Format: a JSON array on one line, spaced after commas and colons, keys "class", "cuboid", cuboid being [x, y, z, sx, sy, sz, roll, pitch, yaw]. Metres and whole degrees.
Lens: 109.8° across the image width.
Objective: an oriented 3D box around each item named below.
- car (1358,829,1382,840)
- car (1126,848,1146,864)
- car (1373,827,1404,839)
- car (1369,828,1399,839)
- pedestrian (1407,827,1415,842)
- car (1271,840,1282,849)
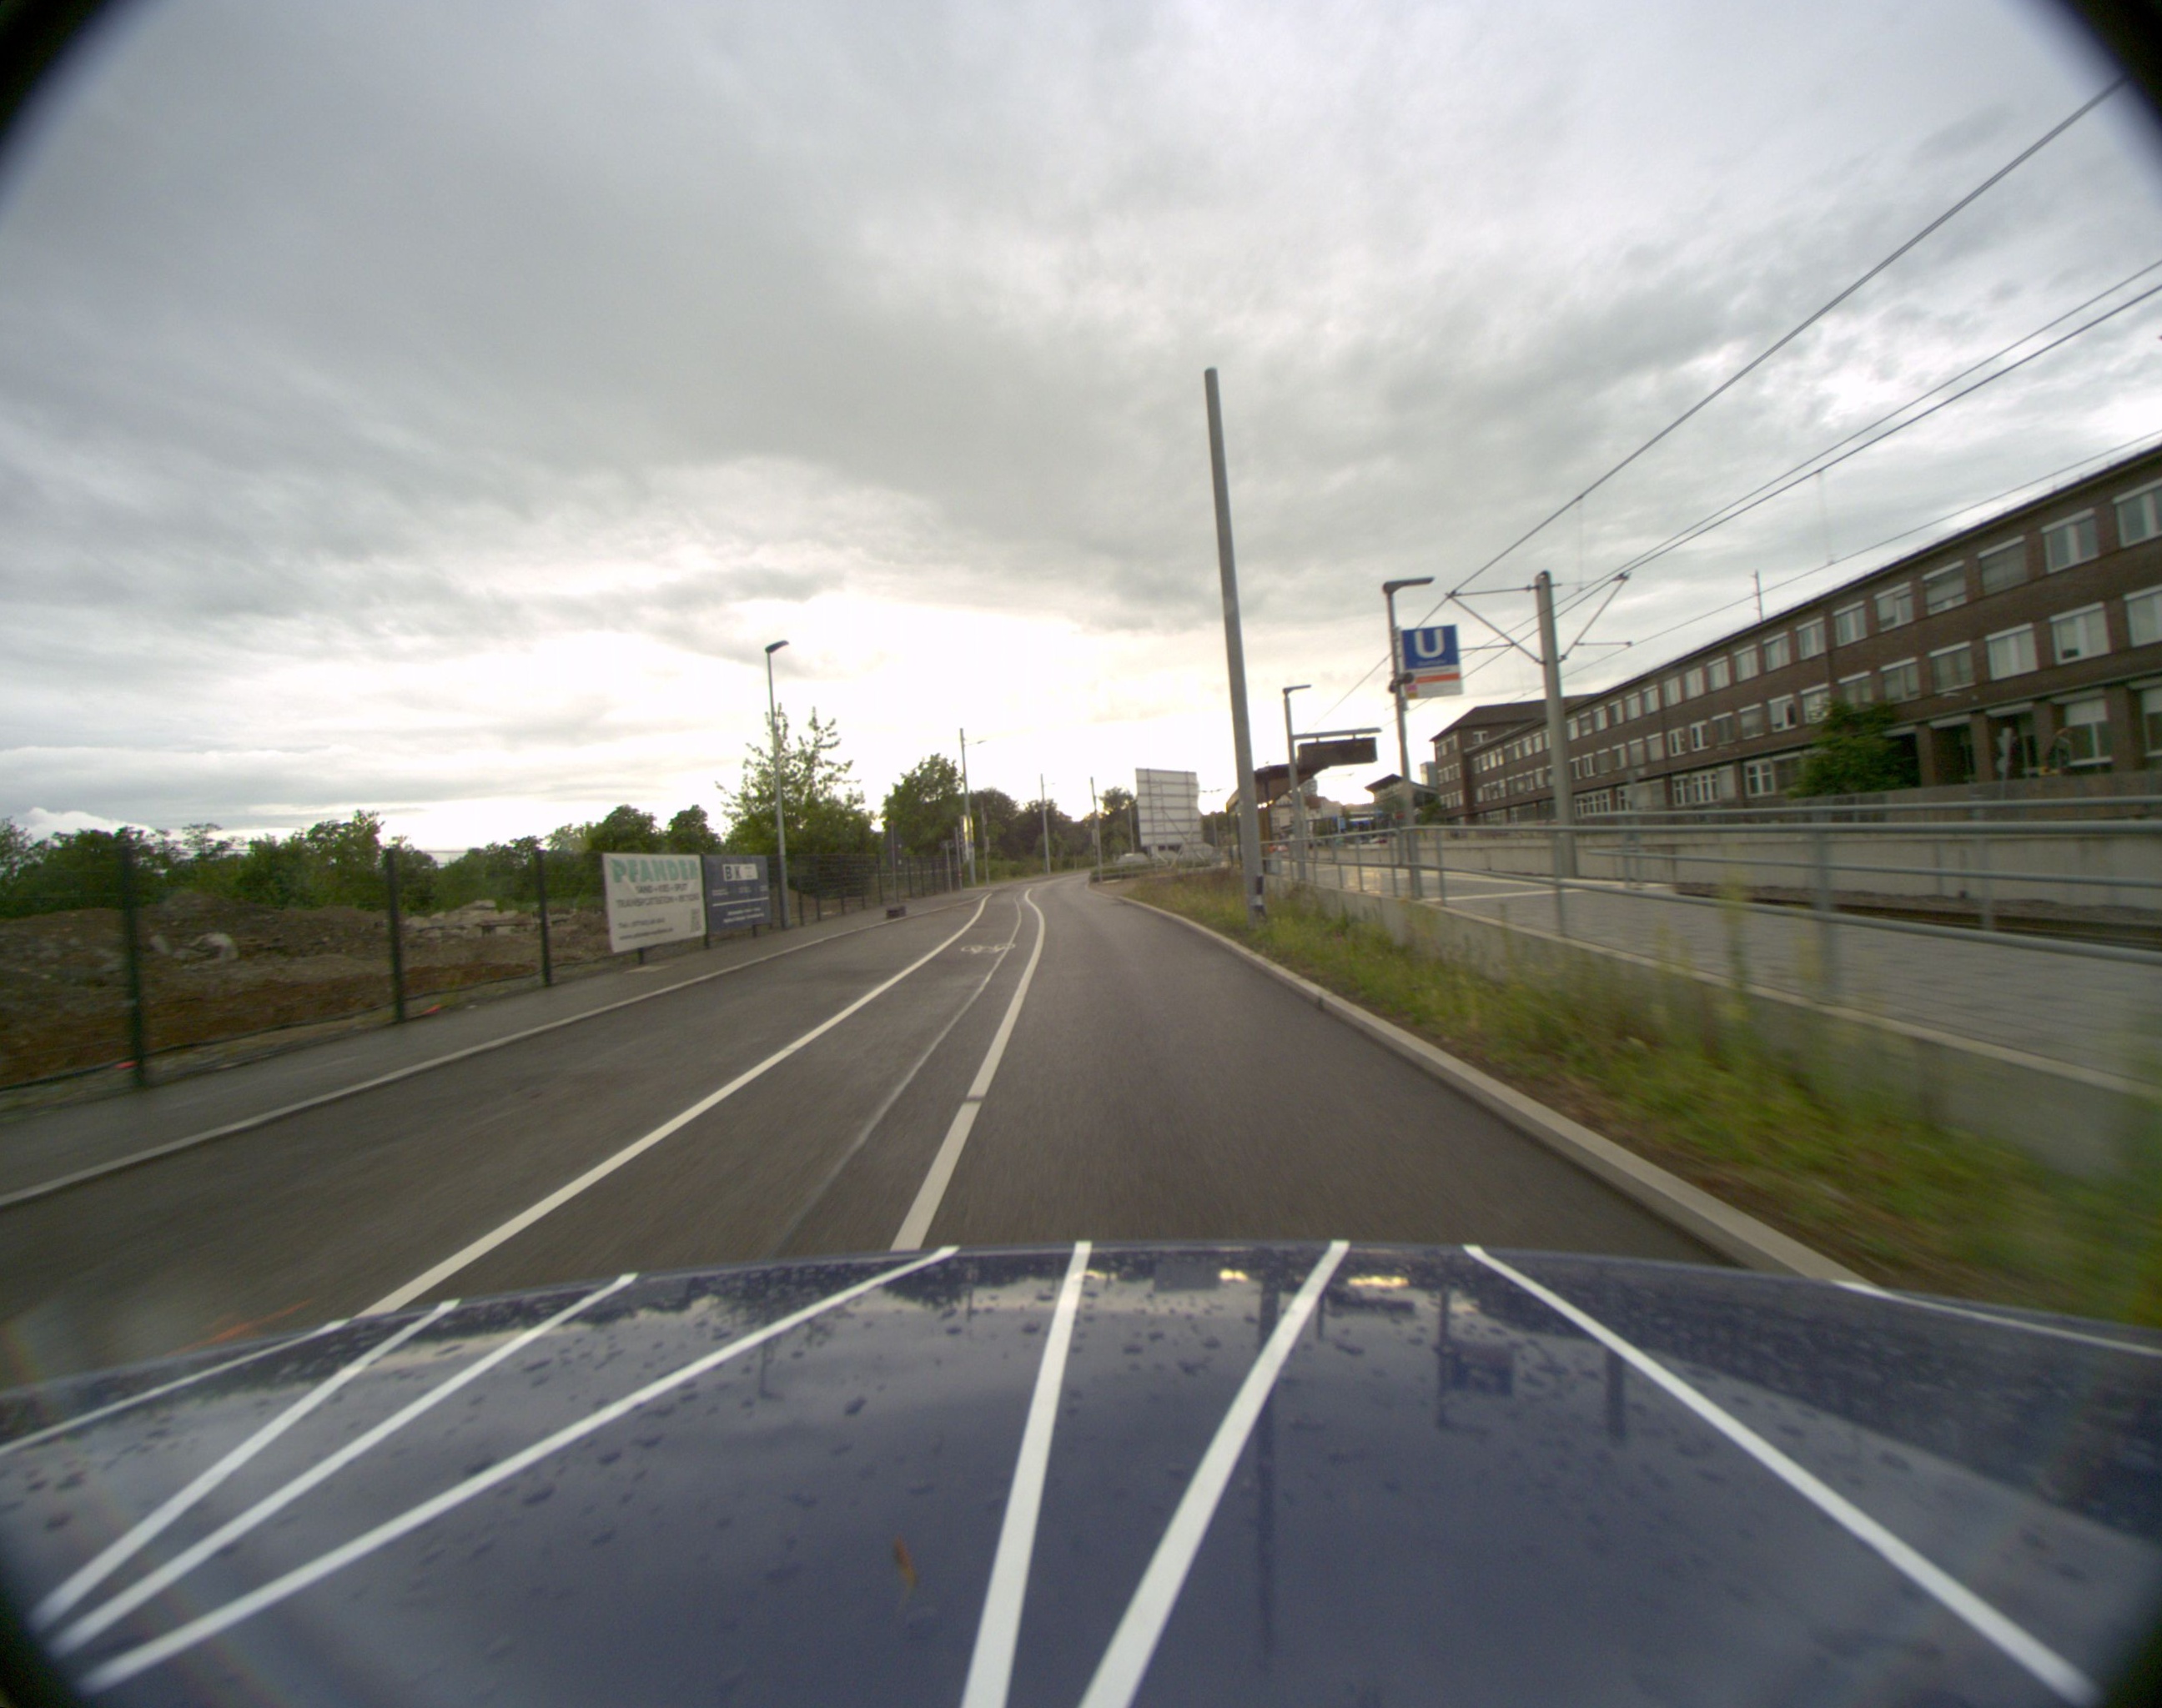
[{"class": "car", "cuboid": [55.928, -3.707, 147.190, 3.994, 1.761, 2.001, -4, 0, 10]}, {"class": "car", "cuboid": [7.390, 0.232, 101.858, 1.997, 2.002, 4.003, -3, 0, 11]}, {"class": "car", "cuboid": [54.107, -3.663, 133.831, 4.573, 1.750, 2.001, -4, 0, 10]}, {"class": "car", "cuboid": [54.689, -3.698, 137.119, 4.573, 1.750, 2.001, -4, 0, 10]}, {"class": "pedestrian", "cuboid": [45.448, -2.675, 104.591, 0.581, 2.002, 0.728, -4, 1, -27]}, {"class": "car", "cuboid": [49.040, -2.318, 190.813, 1.997, 2.002, 4.002, -3, 0, 7]}]
